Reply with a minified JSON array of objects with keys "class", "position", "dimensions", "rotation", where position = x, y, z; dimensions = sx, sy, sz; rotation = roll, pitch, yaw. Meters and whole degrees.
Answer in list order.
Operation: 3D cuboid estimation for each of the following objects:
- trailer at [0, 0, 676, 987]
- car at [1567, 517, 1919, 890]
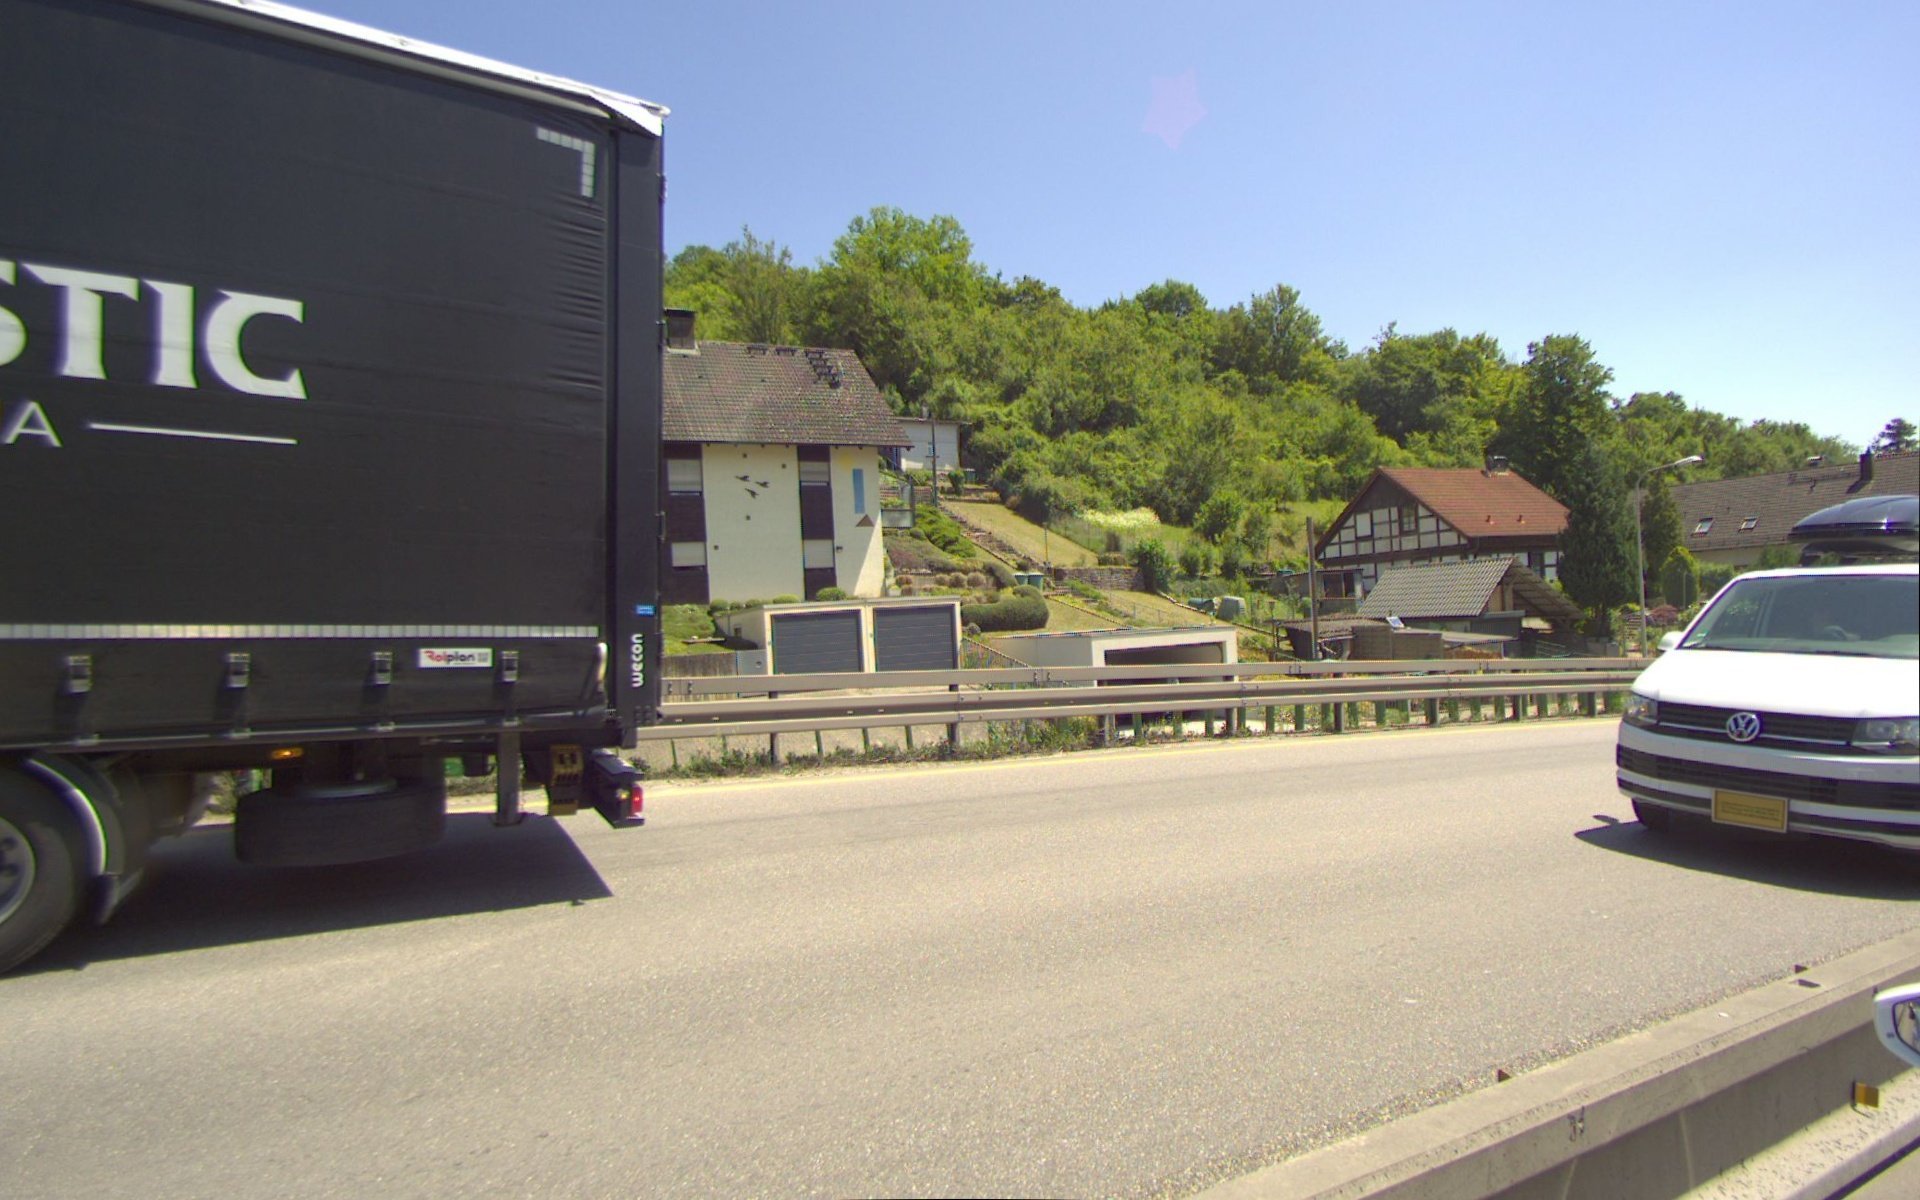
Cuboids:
[{"class":"trailer","position":[-5.791,-0.626,4.073],"dimensions":[8.533,4.125,2.744],"rotation":[1,0,-31]},{"class":"car","position":[6.810,0.641,7.304],"dimensions":[4.842,1.986,2.013],"rotation":[3,-1,-30]}]
